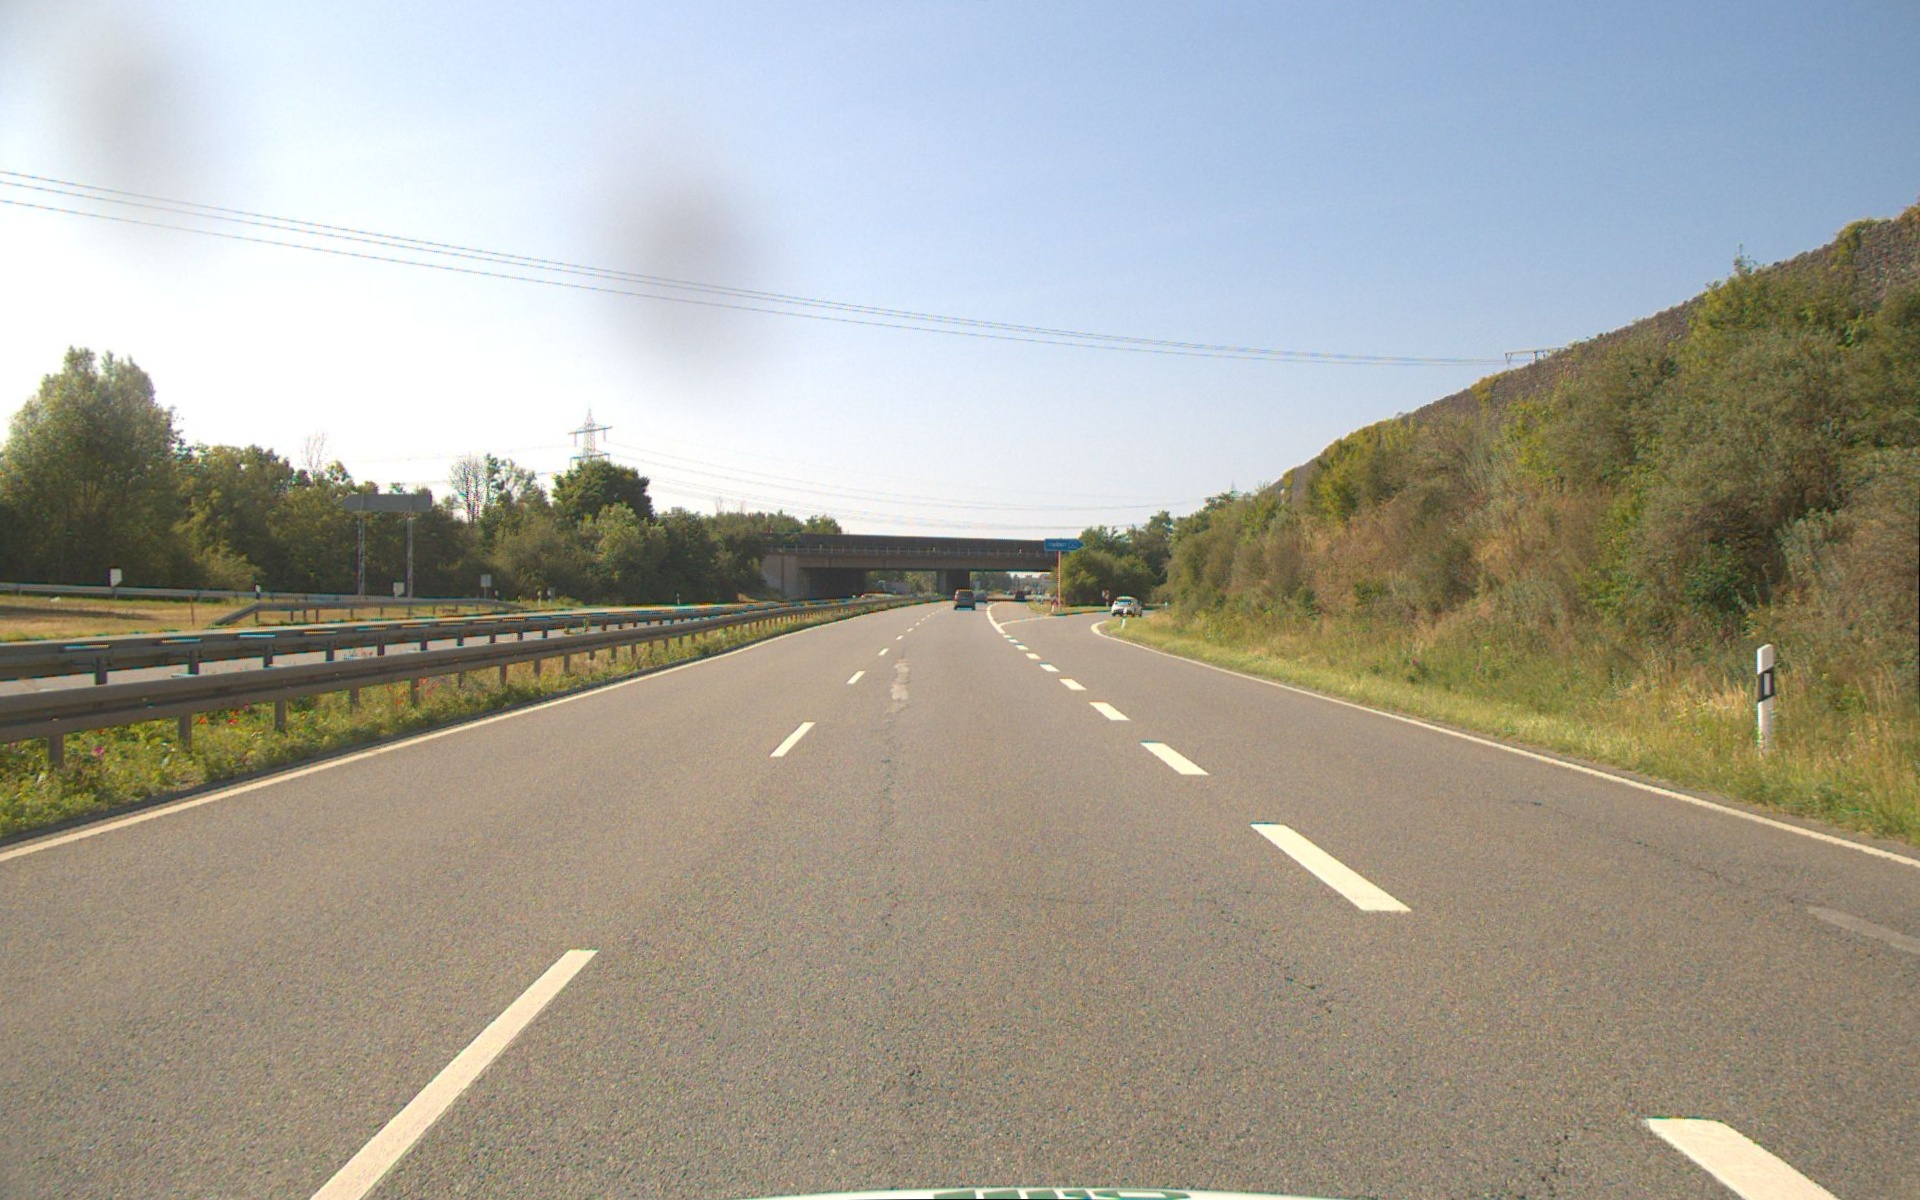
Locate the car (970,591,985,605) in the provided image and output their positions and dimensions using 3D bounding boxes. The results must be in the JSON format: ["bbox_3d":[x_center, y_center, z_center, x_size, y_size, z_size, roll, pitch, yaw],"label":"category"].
[{"bbox_3d":[2.266,-0.241,210.797,1.811,1.673,4.001,1,0,2],"label":"car"}]

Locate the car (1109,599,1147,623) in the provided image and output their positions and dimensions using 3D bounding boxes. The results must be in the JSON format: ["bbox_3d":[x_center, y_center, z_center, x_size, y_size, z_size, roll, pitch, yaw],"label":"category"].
[{"bbox_3d":[12.545,0.838,123.373,1.760,1.694,4.000,4,1,21],"label":"car"}]

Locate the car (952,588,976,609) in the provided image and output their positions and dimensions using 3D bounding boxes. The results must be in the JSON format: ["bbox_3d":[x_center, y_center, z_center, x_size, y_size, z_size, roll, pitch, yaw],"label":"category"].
[{"bbox_3d":[0.330,-0.128,136.656,1.811,1.673,4.001,1,0,2],"label":"car"}]
